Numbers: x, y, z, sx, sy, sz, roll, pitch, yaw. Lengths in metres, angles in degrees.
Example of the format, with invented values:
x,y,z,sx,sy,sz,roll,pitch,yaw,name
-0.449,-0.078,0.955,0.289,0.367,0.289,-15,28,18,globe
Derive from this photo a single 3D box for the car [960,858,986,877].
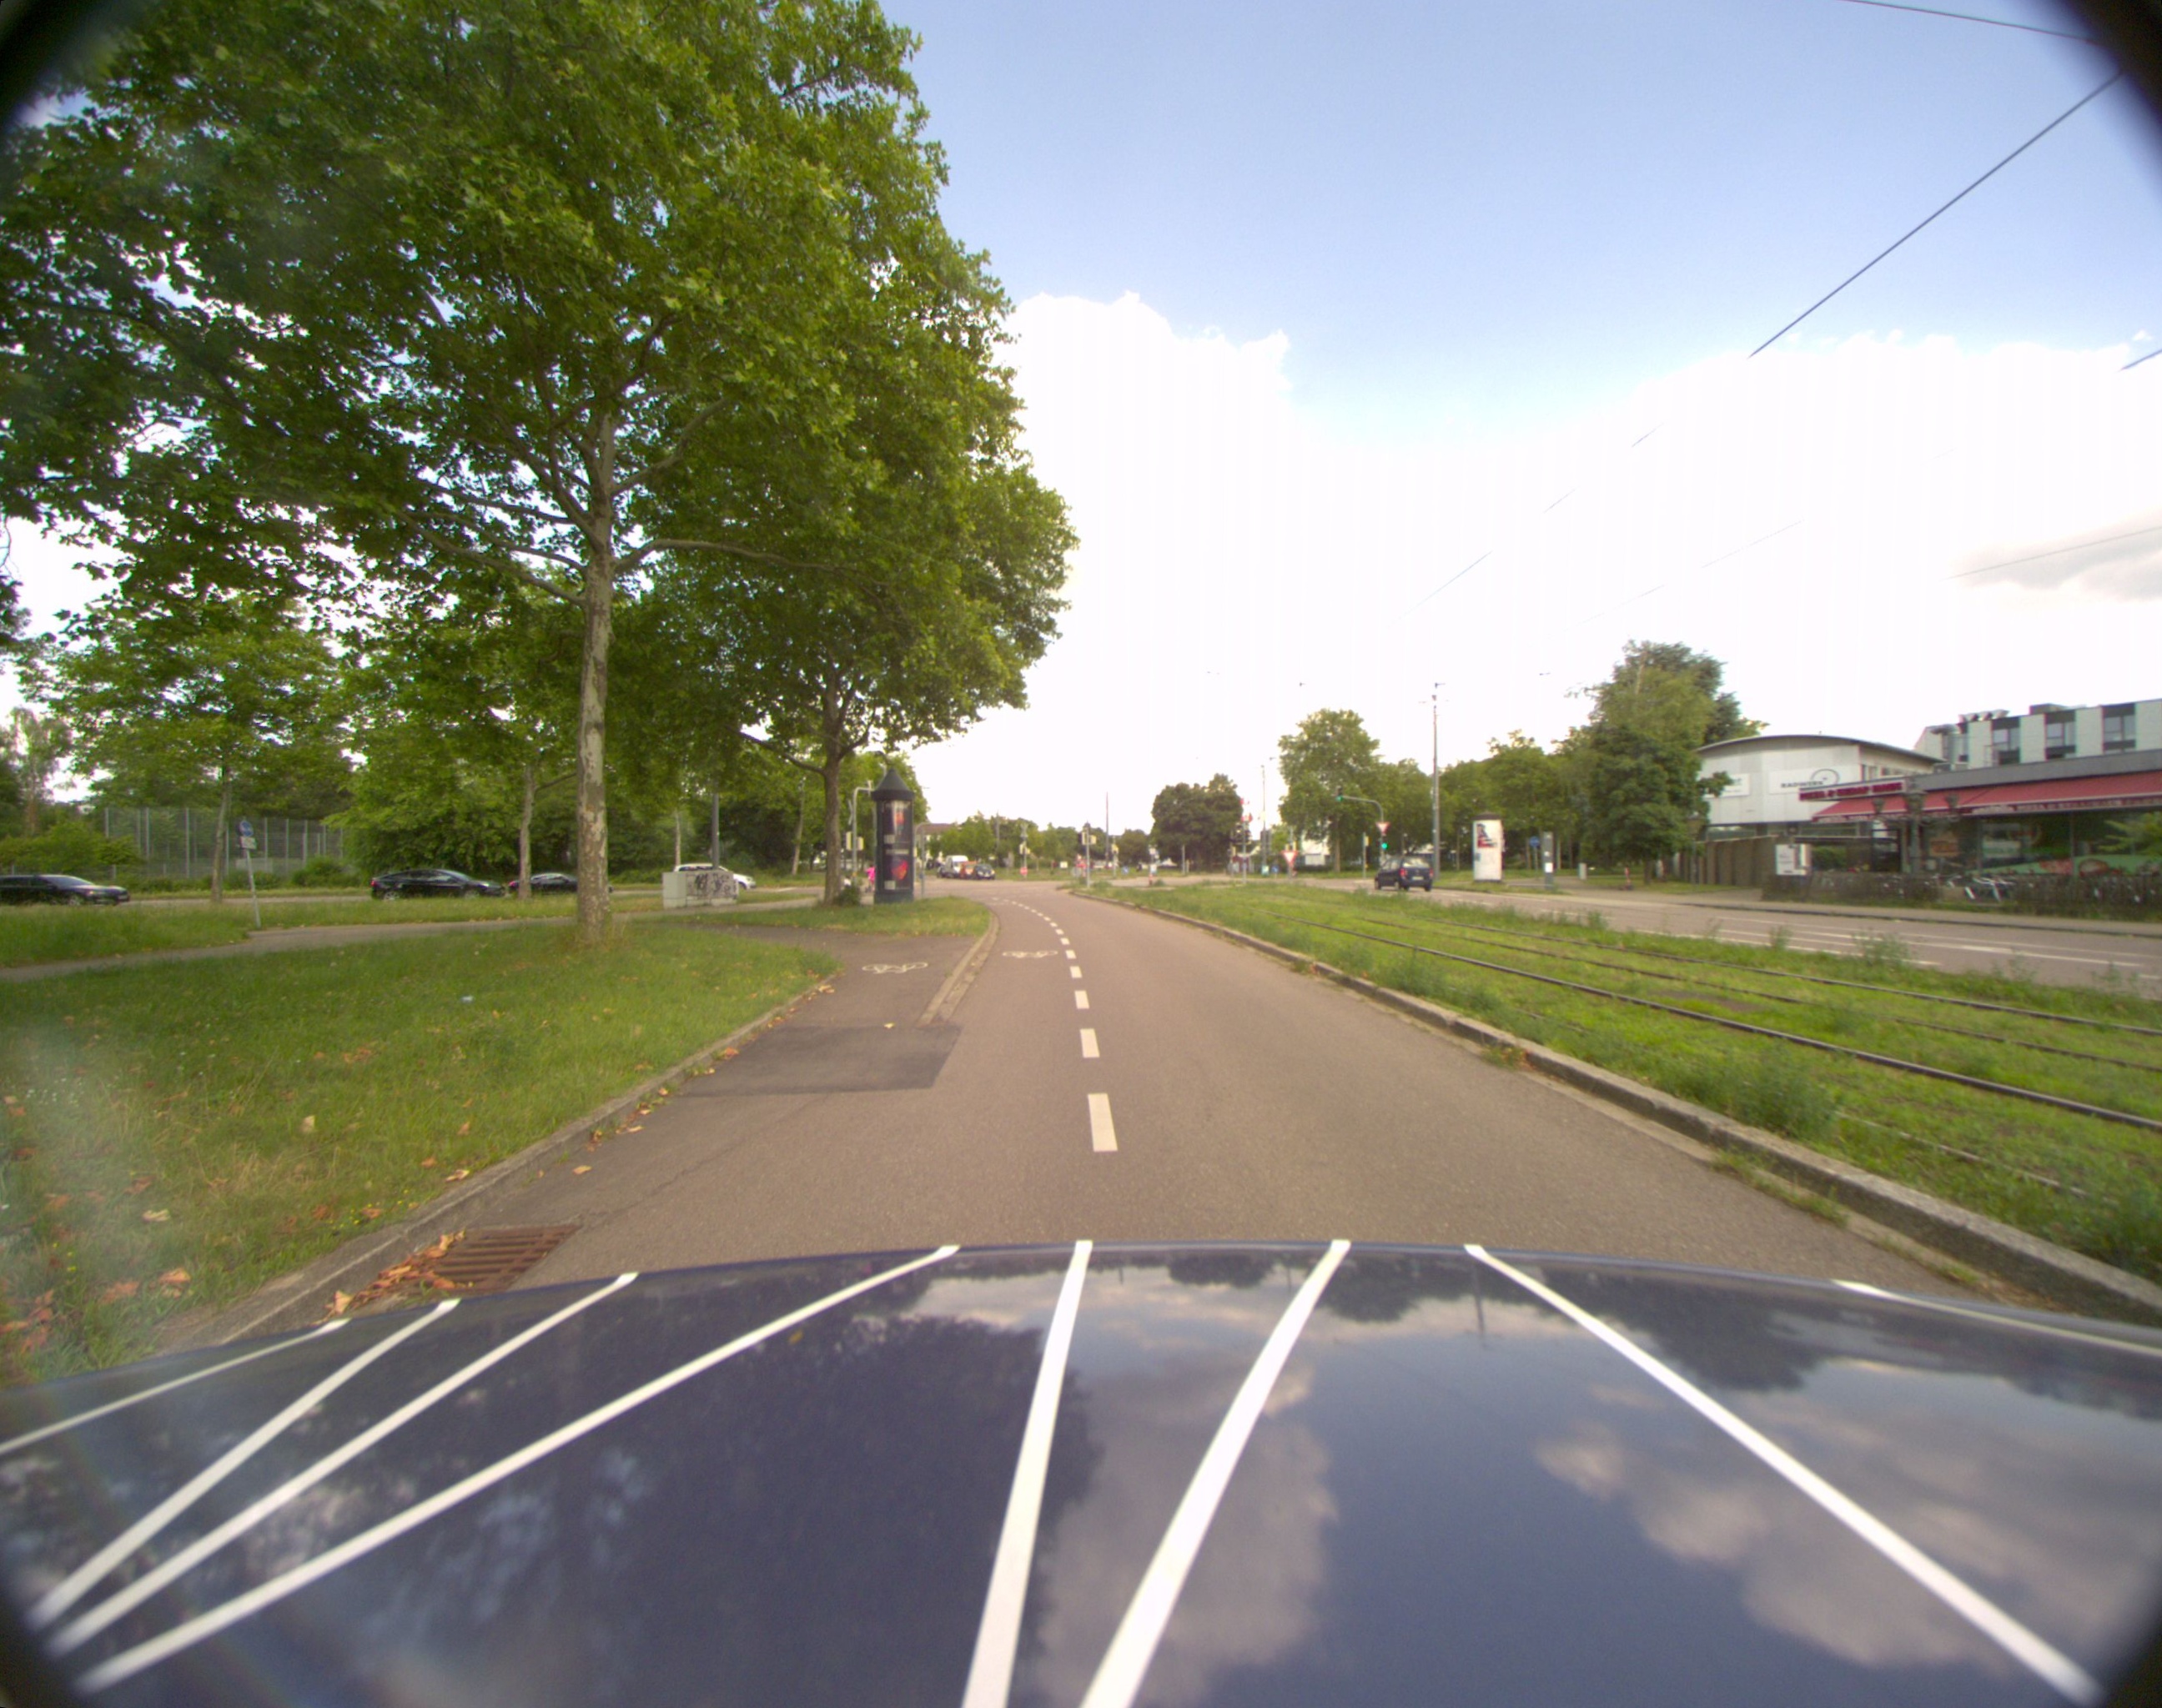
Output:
x,y,z,sx,sy,sz,roll,pitch,yaw,name
-11.459,1.407,80.492,1.798,1.924,4.361,-1,0,-20,car

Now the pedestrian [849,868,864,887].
x,y,z,sx,sy,sz,roll,pitch,yaw,name
-12.462,1.325,42.204,0.723,1.028,0.901,-1,0,-9,pedestrian

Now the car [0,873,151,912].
x,y,z,sx,sy,sz,roll,pitch,yaw,name
-44.461,1.640,33.037,4.692,1.504,1.996,0,1,-21,car

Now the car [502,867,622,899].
x,y,z,sx,sy,sz,roll,pitch,yaw,name
-26.645,1.461,39.188,4.754,1.461,1.996,0,1,-21,car

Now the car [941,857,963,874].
x,y,z,sx,sy,sz,roll,pitch,yaw,name
-15.595,1.397,92.034,1.798,1.924,4.361,-1,0,-20,car

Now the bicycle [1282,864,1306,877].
x,y,z,sx,sy,sz,roll,pitch,yaw,name
18.480,1.427,65.976,0.806,1.053,2.065,-1,-2,-31,bicycle

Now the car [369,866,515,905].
x,y,z,sx,sy,sz,roll,pitch,yaw,name
-29.120,1.399,34.827,4.691,1.601,1.996,0,1,-21,car

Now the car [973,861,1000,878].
x,y,z,sx,sy,sz,roll,pitch,yaw,name
-9.361,1.516,74.773,1.798,1.530,3.994,-1,0,-19,car

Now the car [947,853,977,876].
x,y,z,sx,sy,sz,roll,pitch,yaw,name
-13.611,1.191,86.663,2.242,2.492,5.716,-1,0,-21,car

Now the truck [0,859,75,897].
x,y,z,sx,sy,sz,roll,pitch,yaw,name
-59.157,1.271,40.831,5.860,2.002,2.289,0,0,-17,truck

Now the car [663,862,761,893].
x,y,z,sx,sy,sz,roll,pitch,yaw,name
-20.321,1.255,42.059,4.692,1.601,1.996,0,1,-21,car

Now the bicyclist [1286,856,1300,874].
x,y,z,sx,sy,sz,roll,pitch,yaw,name
18.419,0.966,66.064,0.806,1.461,0.830,-1,-2,-31,bicyclist

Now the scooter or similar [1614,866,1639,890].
x,y,z,sx,sy,sz,roll,pitch,yaw,name
25.106,1.097,35.004,0.427,1.027,1.224,-1,0,10,scooter or similar

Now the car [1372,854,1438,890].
x,y,z,sx,sy,sz,roll,pitch,yaw,name
15.472,0.825,36.503,1.783,1.617,3.496,0,0,2,car

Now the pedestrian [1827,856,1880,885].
x,y,z,sx,sy,sz,roll,pitch,yaw,name
30.741,0.650,30.264,1.156,1.139,0.932,0,0,1,pedestrian
